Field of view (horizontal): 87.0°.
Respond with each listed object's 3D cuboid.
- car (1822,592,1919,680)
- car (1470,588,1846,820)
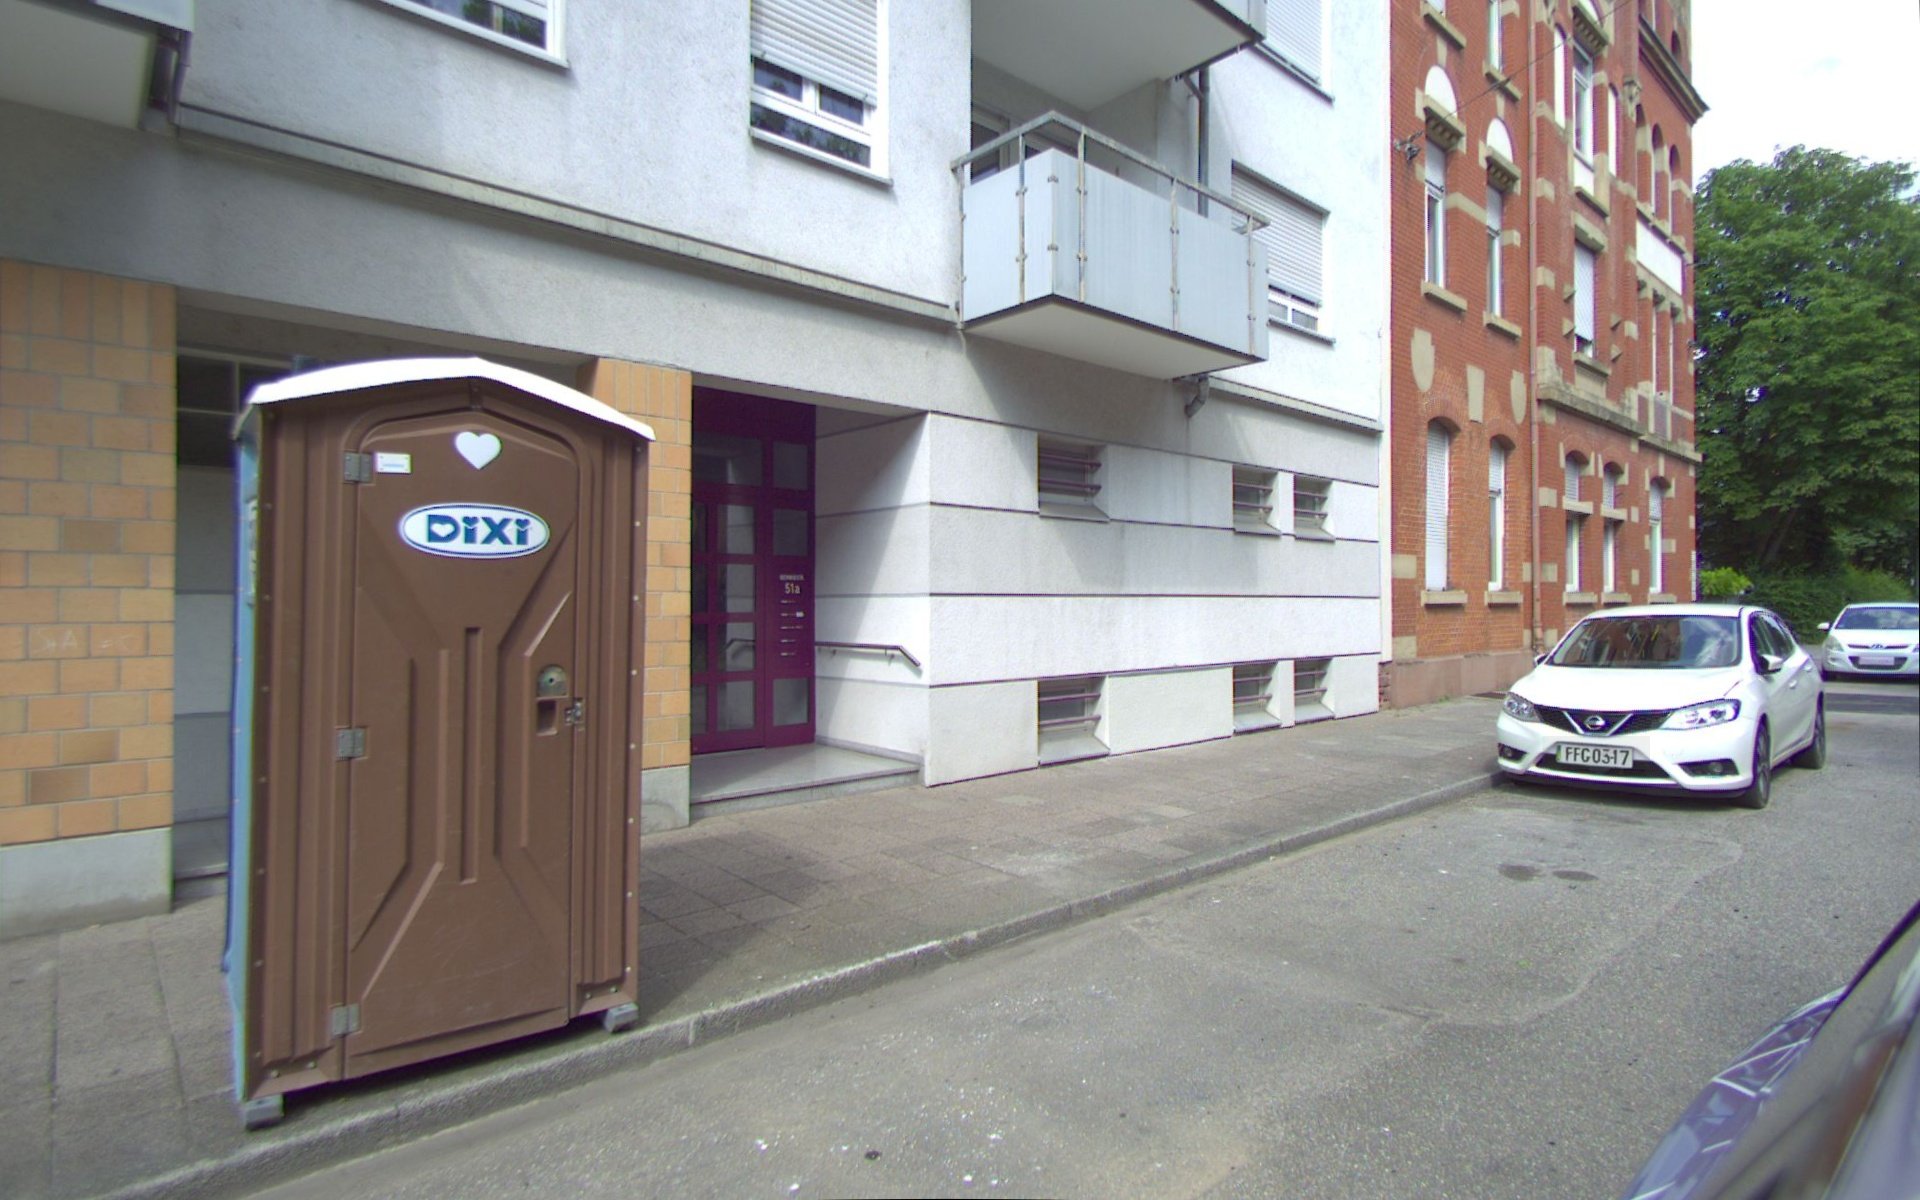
[{"bbox_3d":[18.182,0.634,19.556,3.971,1.549,1.799,0,-1,-42],"label":"car"},{"bbox_3d":[6.187,0.705,8.794,3.971,1.549,1.799,0,-1,-42],"label":"car"}]
